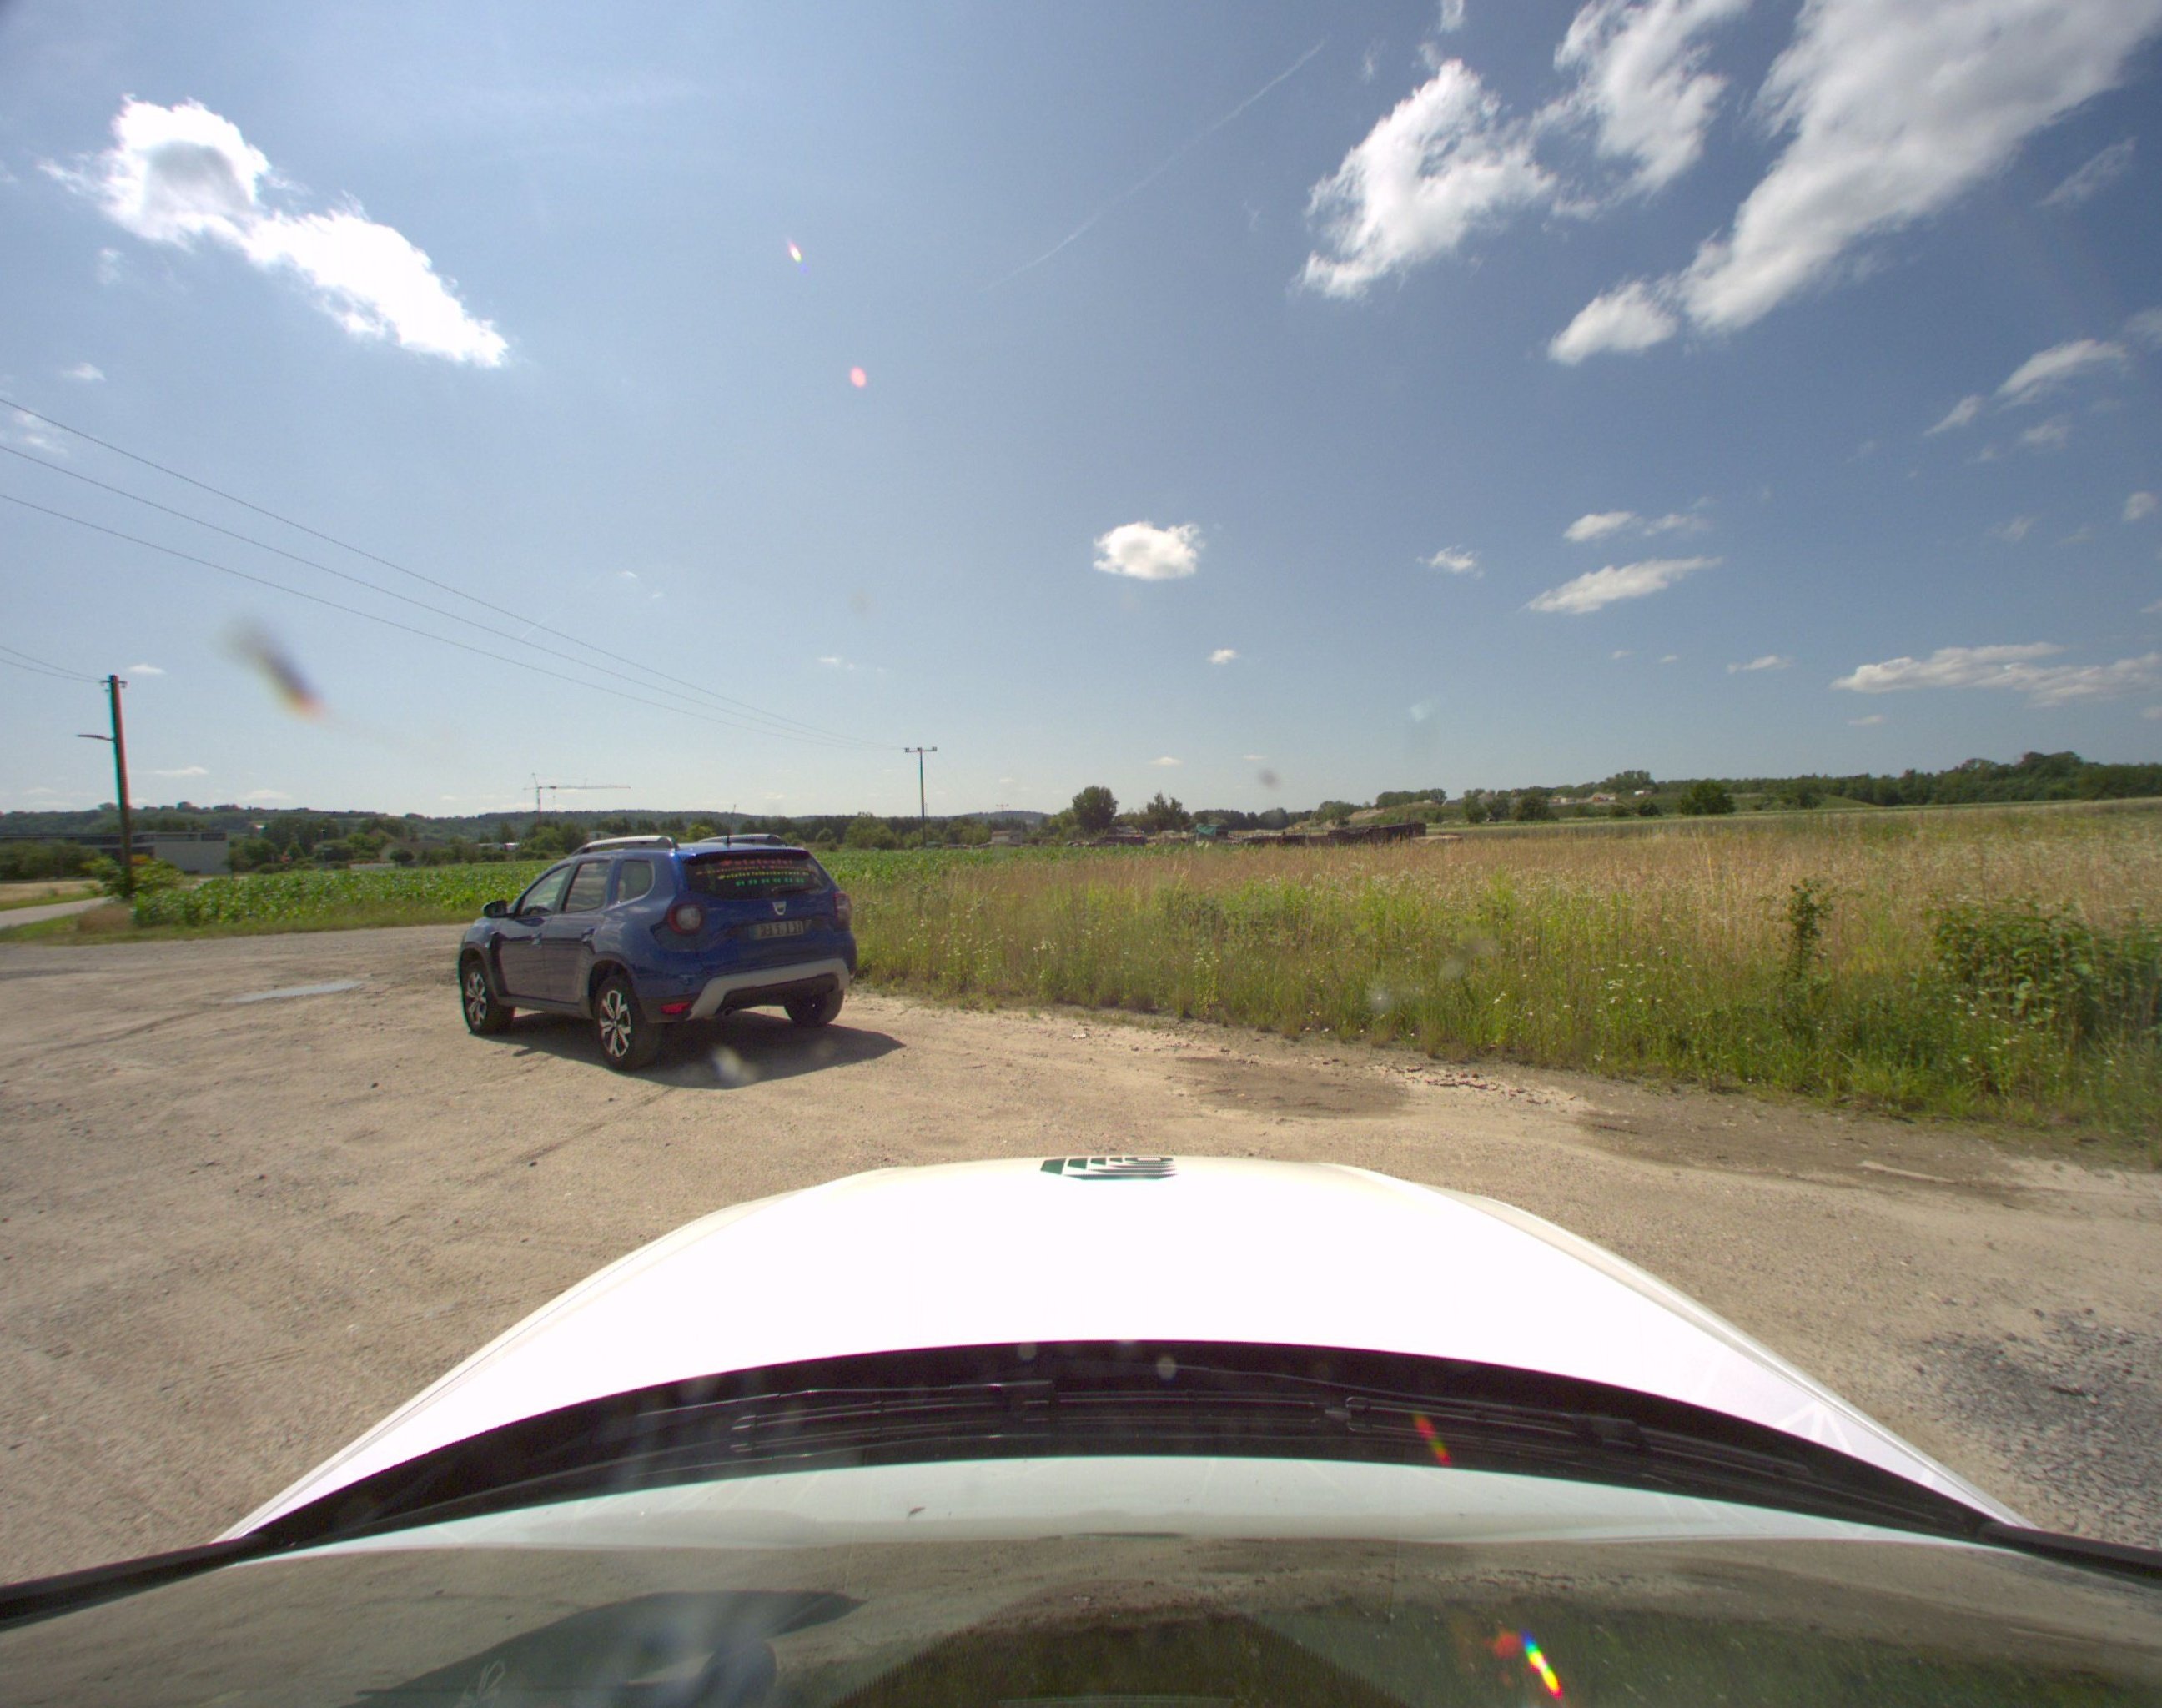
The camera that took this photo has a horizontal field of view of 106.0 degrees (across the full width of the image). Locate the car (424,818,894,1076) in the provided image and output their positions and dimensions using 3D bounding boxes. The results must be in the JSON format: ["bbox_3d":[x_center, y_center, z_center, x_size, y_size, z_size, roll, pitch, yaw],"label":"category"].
[{"bbox_3d":[-3.921,0.645,7.285,4.400,1.661,1.877,-2,0,36],"label":"car"}]
